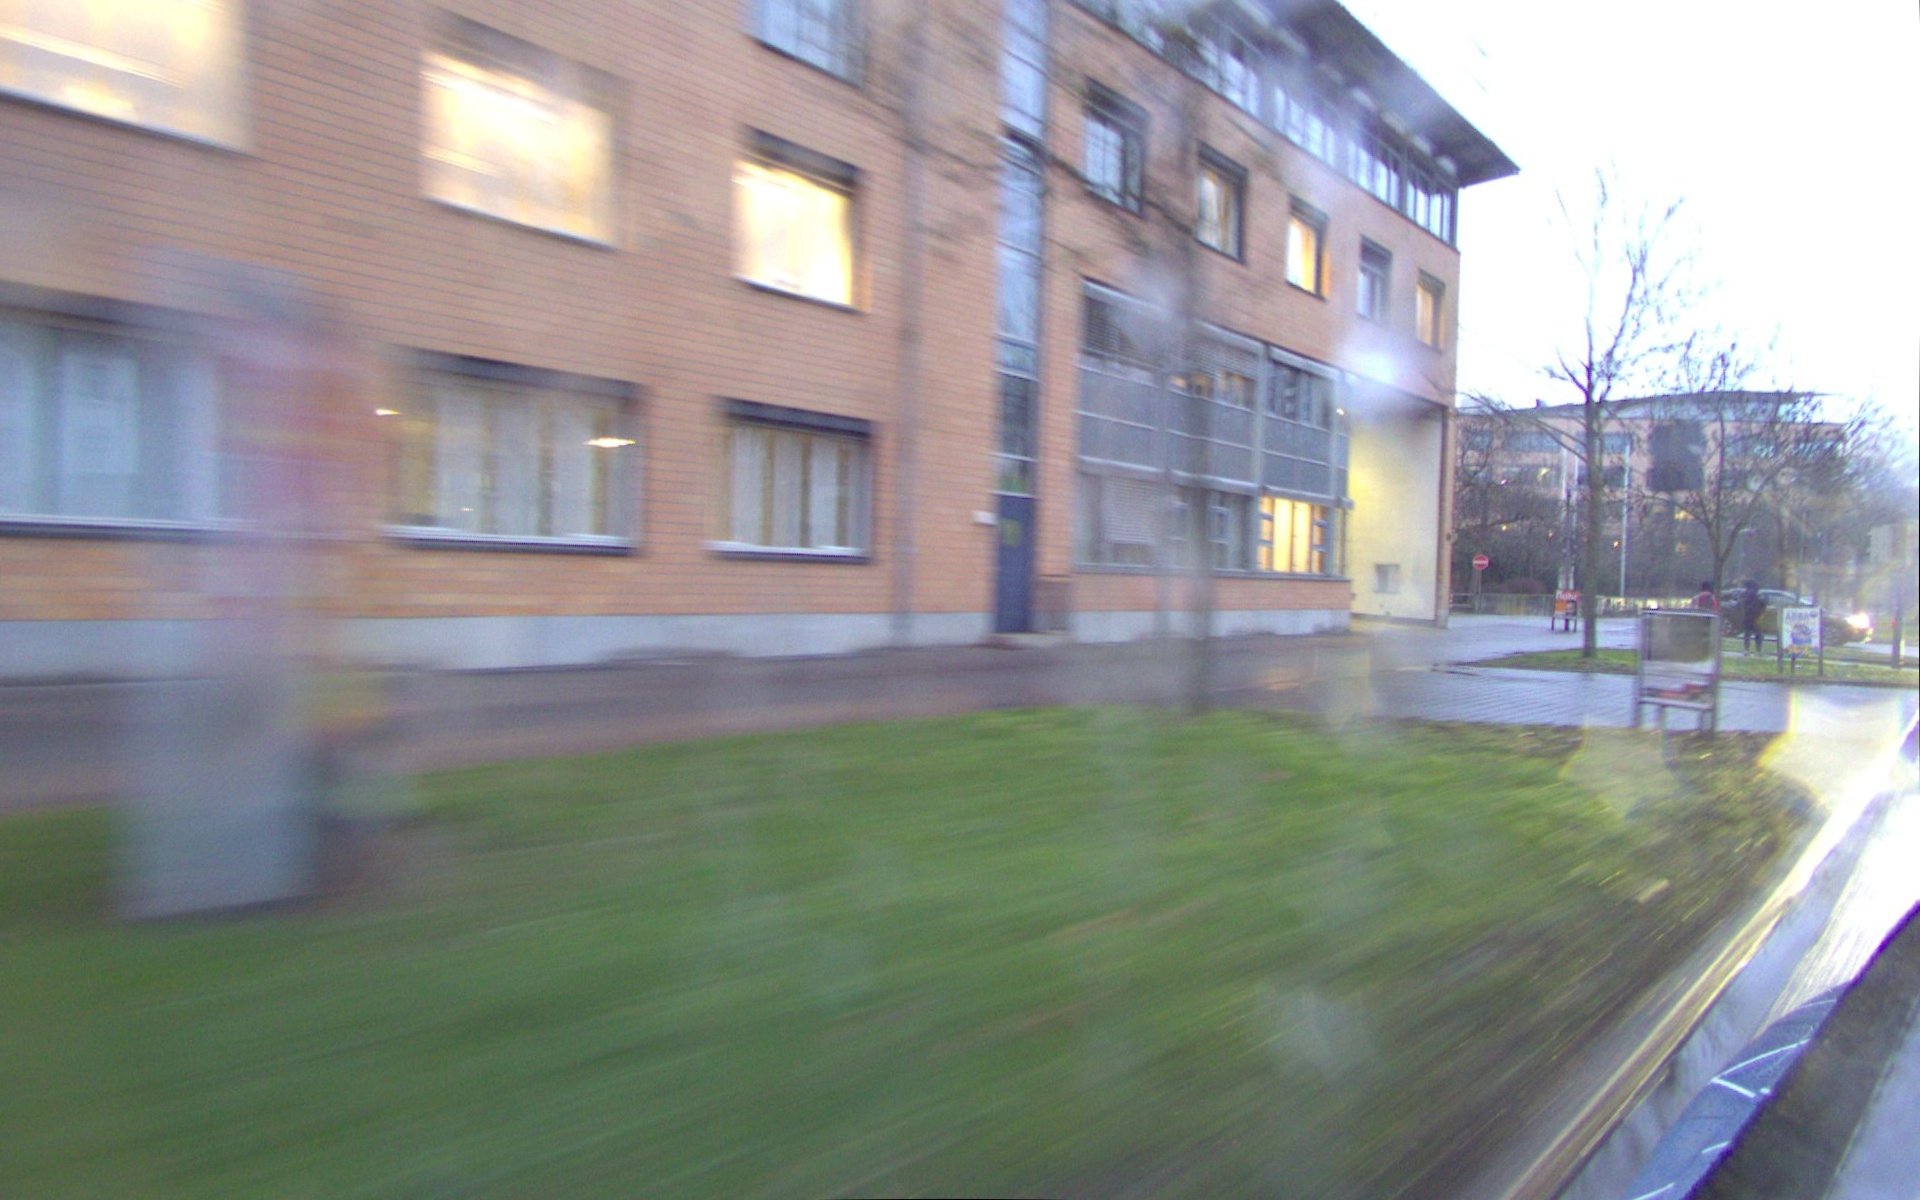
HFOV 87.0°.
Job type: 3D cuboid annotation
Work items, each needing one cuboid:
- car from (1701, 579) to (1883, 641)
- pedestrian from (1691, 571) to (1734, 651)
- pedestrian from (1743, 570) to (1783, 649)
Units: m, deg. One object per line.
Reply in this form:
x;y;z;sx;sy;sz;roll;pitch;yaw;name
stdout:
25.158;0.256;30.703;1.712;1.574;3.995;0;3;-41;car
17.036;0.239;22.925;0.498;1.763;0.655;2;2;14;pedestrian
19.075;0.215;24.051;0.499;1.847;0.653;2;2;21;pedestrian
